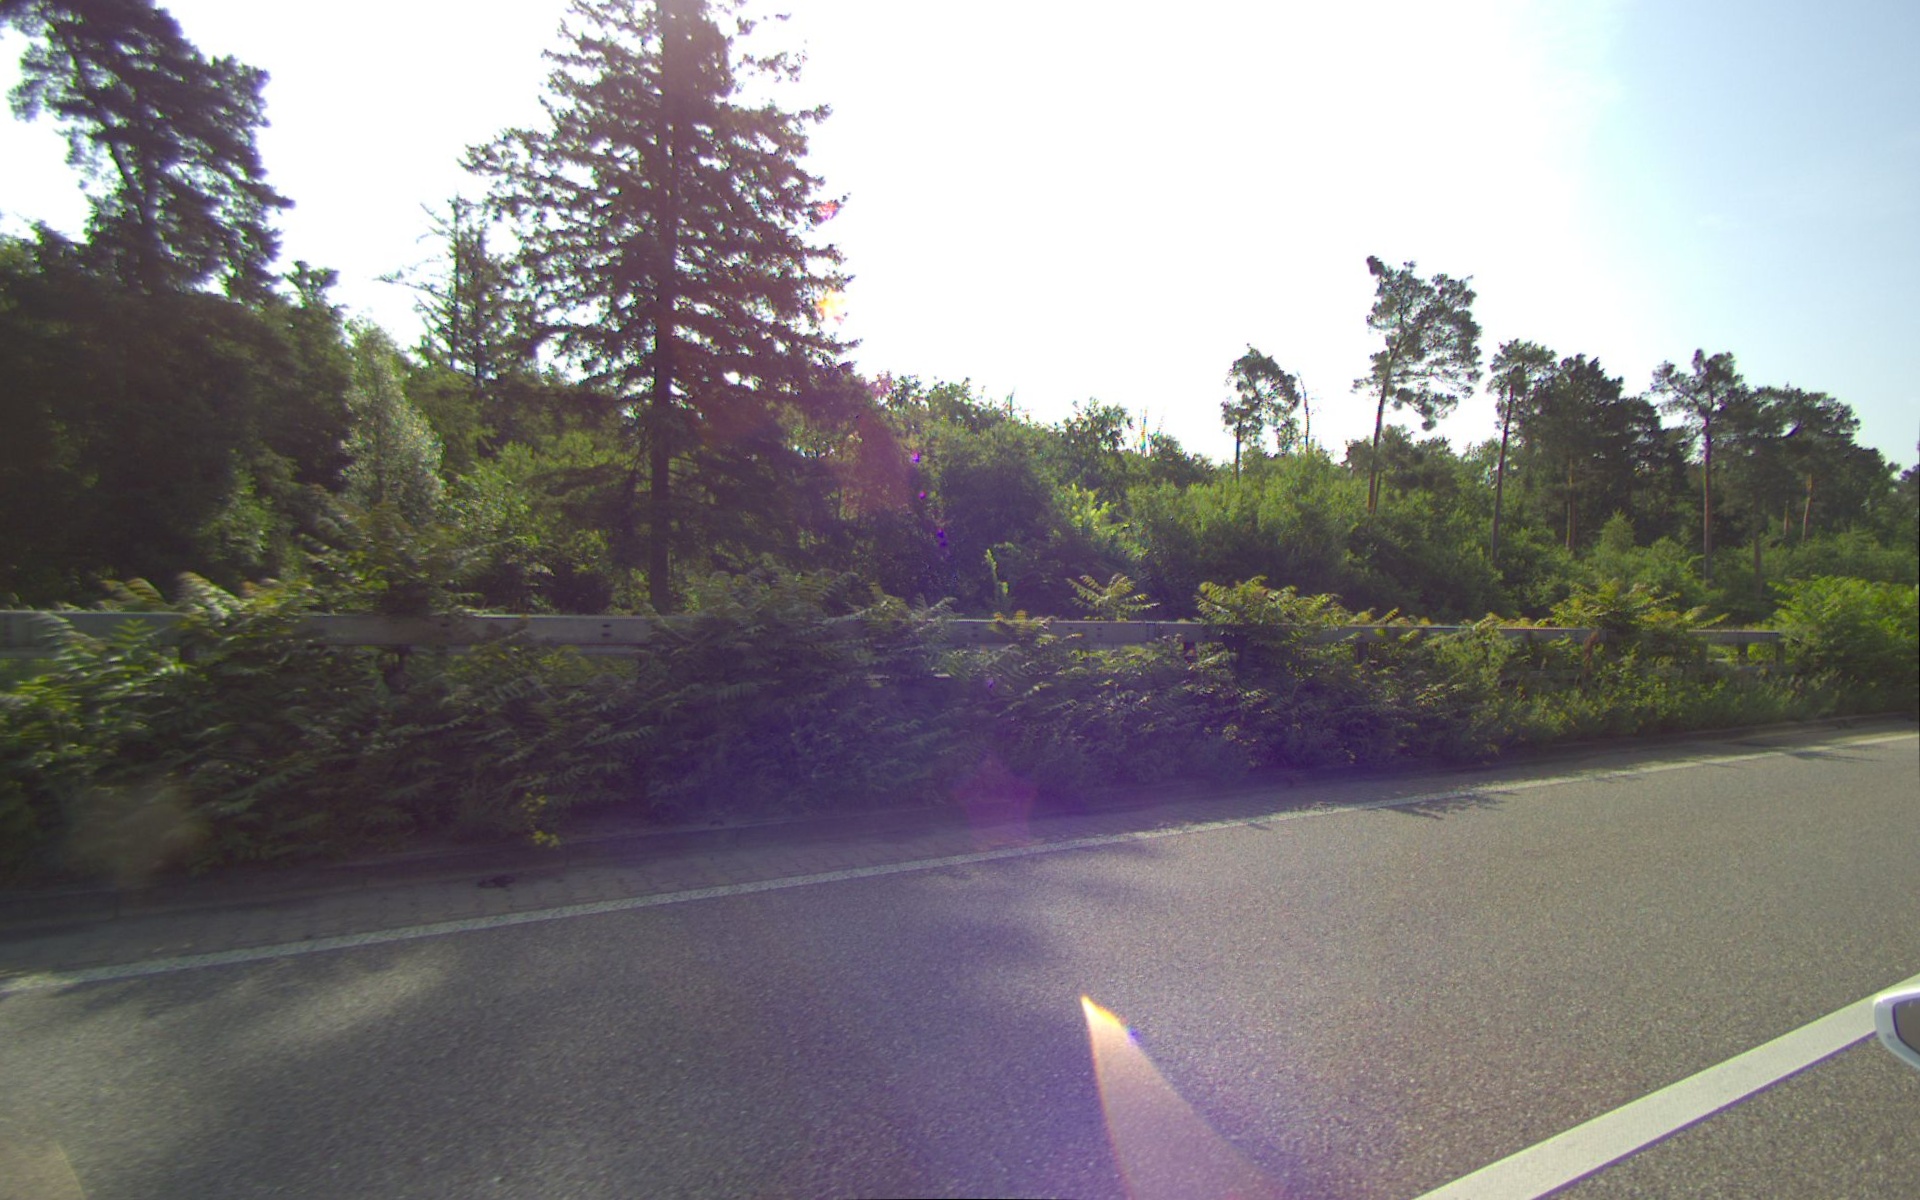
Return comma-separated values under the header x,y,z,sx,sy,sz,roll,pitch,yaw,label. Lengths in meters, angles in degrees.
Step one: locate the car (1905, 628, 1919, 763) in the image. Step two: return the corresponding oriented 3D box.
x,y,z,sx,sy,sz,roll,pitch,yaw,label
13.043,1.070,11.574,5.217,1.457,1.783,1,-1,-31,car
